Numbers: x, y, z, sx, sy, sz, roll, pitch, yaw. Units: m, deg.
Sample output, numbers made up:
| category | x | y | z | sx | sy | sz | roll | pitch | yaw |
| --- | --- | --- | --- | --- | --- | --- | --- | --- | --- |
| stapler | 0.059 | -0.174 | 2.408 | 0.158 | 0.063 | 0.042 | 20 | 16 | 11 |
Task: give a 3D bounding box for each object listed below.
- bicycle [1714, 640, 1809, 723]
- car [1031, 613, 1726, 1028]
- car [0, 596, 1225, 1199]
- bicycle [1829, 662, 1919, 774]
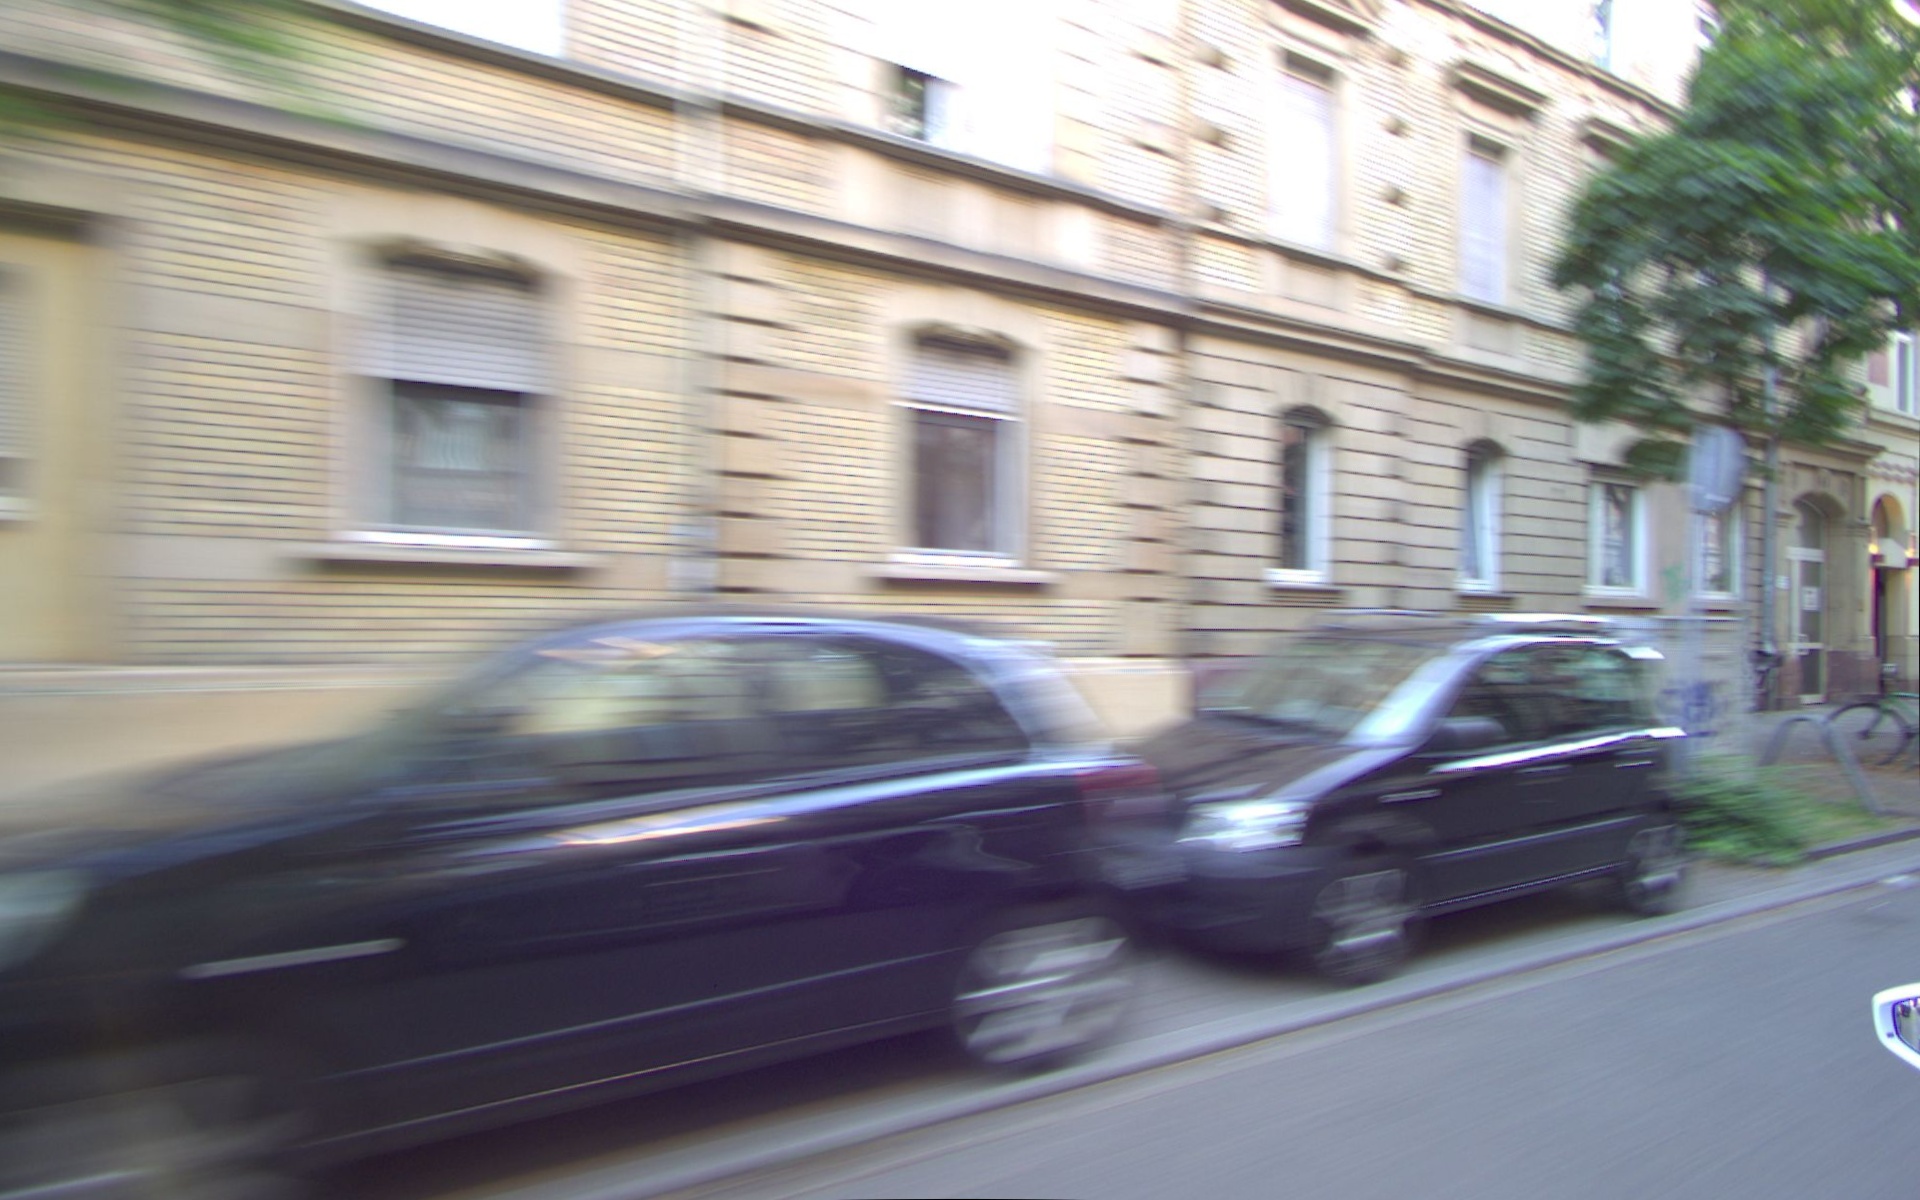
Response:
| category | x | y | z | sx | sy | sz | roll | pitch | yaw |
| --- | --- | --- | --- | --- | --- | --- | --- | --- | --- |
| bicycle | 11.745 | 1.169 | 14.712 | 1.609 | 1.104 | 0.459 | 0 | 2 | -28 |
| car | 2.263 | 0.866 | 5.276 | 3.518 | 1.521 | 1.512 | 1 | 0 | -29 |
| car | -1.069 | 0.791 | 3.371 | 3.668 | 1.521 | 1.683 | 1 | 0 | -30 |
| bicycle | 10.085 | 1.233 | 10.226 | 1.843 | 1.074 | 0.593 | 2 | 0 | 43 |
